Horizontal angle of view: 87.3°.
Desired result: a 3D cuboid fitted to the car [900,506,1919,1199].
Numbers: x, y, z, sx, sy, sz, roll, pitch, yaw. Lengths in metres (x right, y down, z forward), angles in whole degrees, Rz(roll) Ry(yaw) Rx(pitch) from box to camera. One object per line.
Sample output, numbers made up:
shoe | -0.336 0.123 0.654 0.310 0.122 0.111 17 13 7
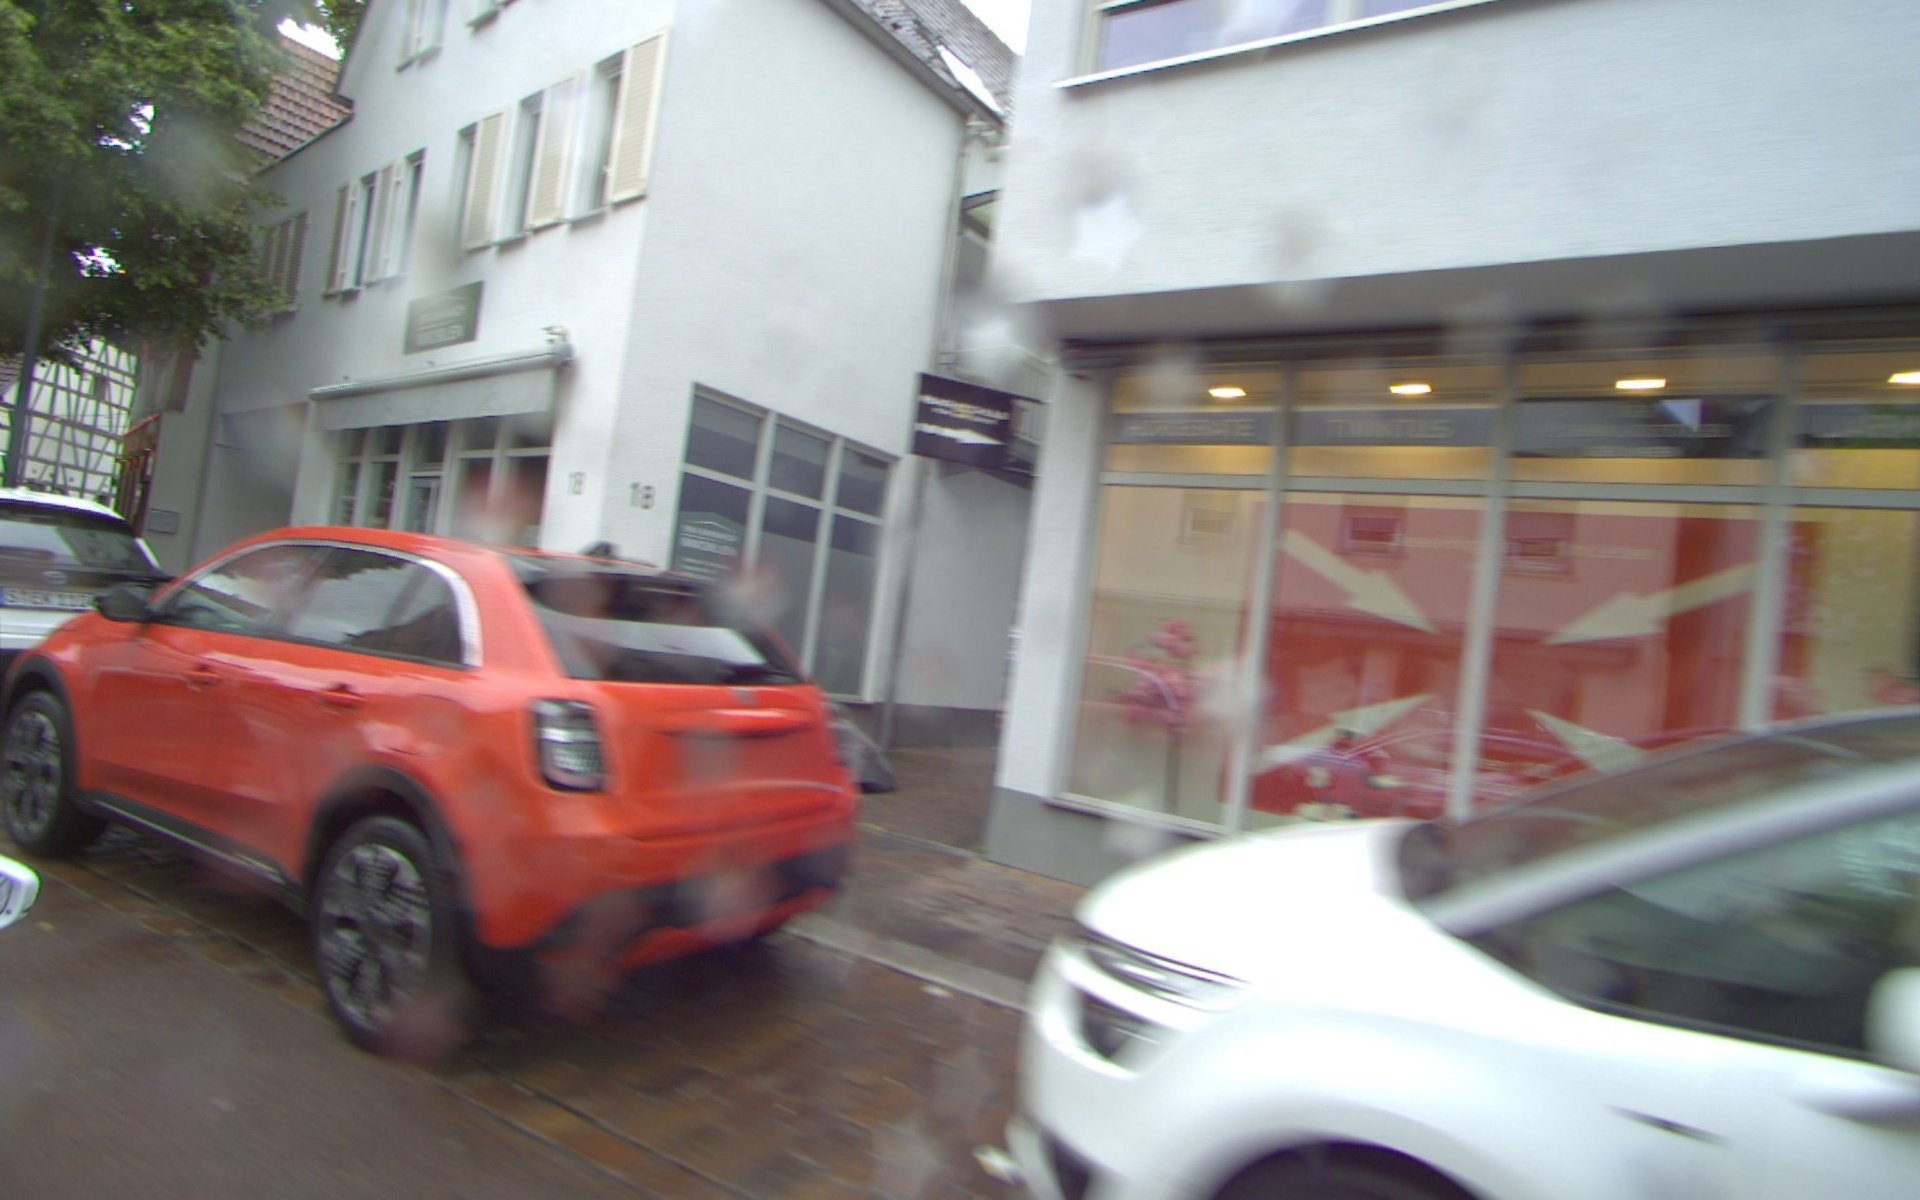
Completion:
car | 2.176 0.942 1.838 4.204 1.709 1.695 6 -2 27

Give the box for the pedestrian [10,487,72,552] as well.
pedestrian | -24.345 -2.118 26.673 0.749 1.535 0.840 7 -1 -12

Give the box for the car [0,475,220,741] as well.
car | -7.402 -0.127 7.191 4.329 1.557 1.694 6 -2 30

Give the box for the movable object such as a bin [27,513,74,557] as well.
movable object such as a bin | -25.927 -1.846 28.688 0.595 1.106 0.656 7 -1 -5

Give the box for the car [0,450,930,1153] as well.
car | -2.306 0.443 4.257 3.891 1.709 1.694 6 -2 30
